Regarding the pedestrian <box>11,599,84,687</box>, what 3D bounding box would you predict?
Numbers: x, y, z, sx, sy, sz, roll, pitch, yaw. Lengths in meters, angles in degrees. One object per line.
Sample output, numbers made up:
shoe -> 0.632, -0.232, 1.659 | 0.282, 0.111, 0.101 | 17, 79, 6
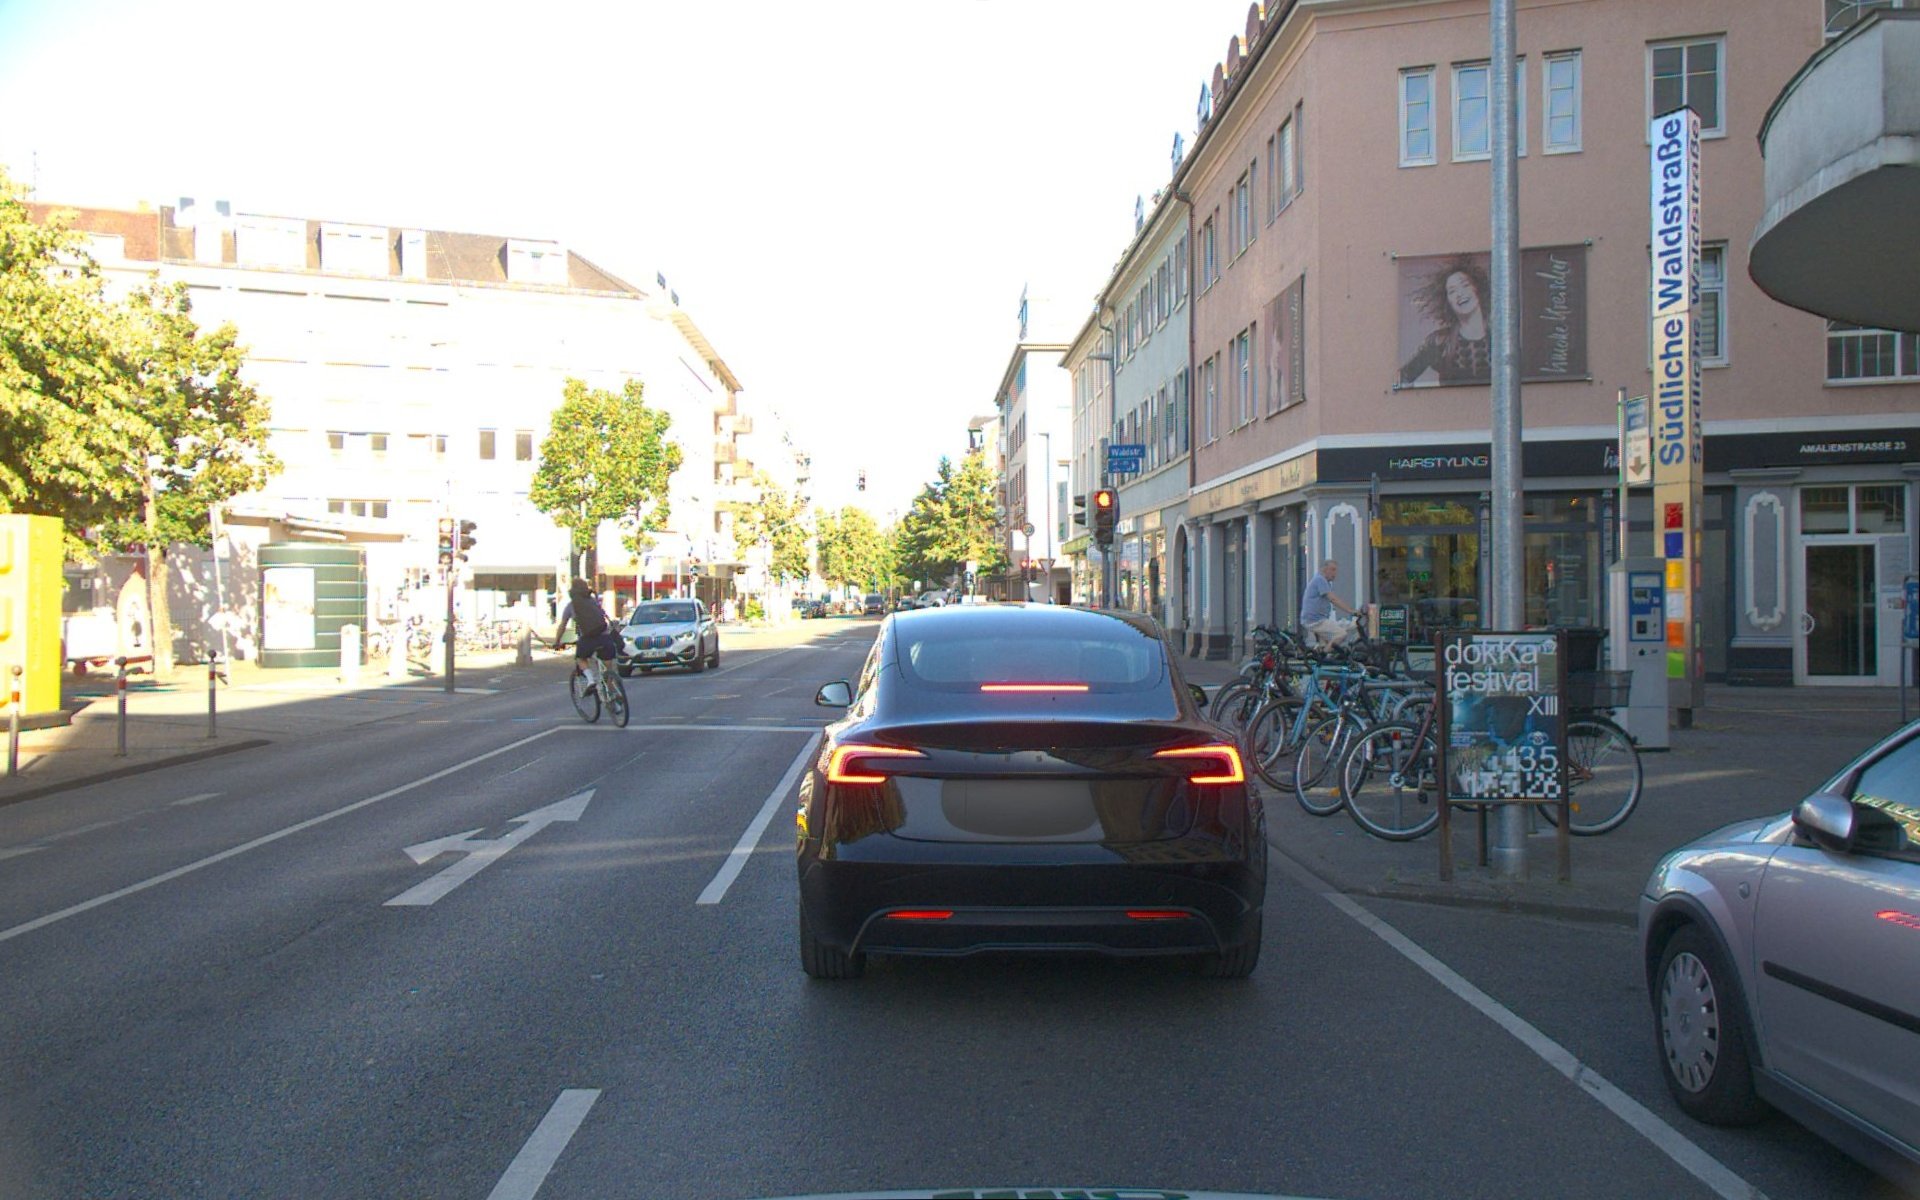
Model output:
pedestrian -> -17.577, 0.817, 31.871 | 0.966, 1.665, 0.737 | 0, 0, 3

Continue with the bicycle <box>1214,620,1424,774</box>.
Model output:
bicycle -> 2.932, 0.786, 13.560 | 1.595, 1.180, 0.432 | -2, 0, -2

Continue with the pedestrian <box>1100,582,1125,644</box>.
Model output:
pedestrian -> 4.502, 0.385, 48.835 | 0.689, 1.814, 0.533 | 0, 0, -1

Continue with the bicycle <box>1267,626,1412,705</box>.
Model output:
bicycle -> 4.991, 0.859, 21.847 | 1.823, 0.962, 0.629 | 1, 0, 10

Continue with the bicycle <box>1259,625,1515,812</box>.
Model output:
bicycle -> 2.885, 0.788, 11.229 | 1.595, 1.180, 0.432 | -2, 0, -2

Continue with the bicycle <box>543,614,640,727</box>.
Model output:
bicycle -> -4.333, 0.803, 19.569 | 0.780, 1.254, 1.773 | 0, 0, -1

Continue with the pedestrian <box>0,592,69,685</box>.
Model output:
pedestrian -> -17.695, 0.726, 31.629 | 0.882, 1.755, 0.744 | 0, 0, 3

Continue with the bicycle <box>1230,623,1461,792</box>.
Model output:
bicycle -> 2.880, 0.792, 12.414 | 1.595, 1.180, 0.432 | -2, 0, -2

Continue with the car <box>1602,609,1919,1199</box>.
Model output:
car -> 2.915, 0.746, 3.531 | 1.588, 1.419, 3.886 | 0, 0, 0

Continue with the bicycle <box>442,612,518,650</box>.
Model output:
bicycle -> -14.433, 0.931, 49.742 | 2.040, 1.123, 0.806 | 0, 0, -1

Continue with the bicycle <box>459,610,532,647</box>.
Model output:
bicycle -> -14.576, 0.890, 51.934 | 2.040, 1.123, 0.806 | 0, 0, -1

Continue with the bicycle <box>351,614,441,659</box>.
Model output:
bicycle -> -14.458, 0.926, 42.447 | 2.040, 1.123, 0.806 | 0, 0, -1

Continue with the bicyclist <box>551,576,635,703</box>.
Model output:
bicyclist -> -4.332, 0.454, 19.568 | 0.780, 1.460, 1.008 | 0, 0, -1

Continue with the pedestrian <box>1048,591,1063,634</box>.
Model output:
pedestrian -> 3.814, 0.486, 65.785 | 0.559, 1.720, 0.387 | 0, 0, -1

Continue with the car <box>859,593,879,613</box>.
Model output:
car -> -8.322, 0.275, 151.097 | 1.793, 1.754, 3.998 | 0, 0, -2

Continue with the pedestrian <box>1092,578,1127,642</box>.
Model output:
pedestrian -> 4.420, 0.294, 48.853 | 0.979, 1.883, 0.615 | 0, 0, -1

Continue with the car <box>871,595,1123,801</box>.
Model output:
car -> 0.265, 0.703, 13.816 | 1.812, 1.480, 3.786 | 0, 0, 0

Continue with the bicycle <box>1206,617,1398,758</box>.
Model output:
bicycle -> 3.048, 0.773, 14.793 | 1.594, 1.180, 0.433 | -2, 0, 0

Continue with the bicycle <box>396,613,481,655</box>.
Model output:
bicycle -> -14.165, 0.914, 44.972 | 2.040, 1.123, 0.806 | 0, 0, -1

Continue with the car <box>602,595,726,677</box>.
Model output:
car -> -6.382, 0.735, 36.062 | 1.953, 1.567, 3.999 | -3, 0, -1

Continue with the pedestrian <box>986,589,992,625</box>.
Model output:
pedestrian -> 1.667, 0.411, 95.338 | 0.376, 2.049, 0.297 | 0, 0, -1

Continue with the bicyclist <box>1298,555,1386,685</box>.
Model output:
bicyclist -> 5.037, 0.261, 21.846 | 1.096, 1.683, 0.629 | 0, 0, 10

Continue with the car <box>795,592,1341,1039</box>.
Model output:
car -> 0.361, 0.713, 7.390 | 1.812, 1.480, 3.786 | 0, 0, 0
